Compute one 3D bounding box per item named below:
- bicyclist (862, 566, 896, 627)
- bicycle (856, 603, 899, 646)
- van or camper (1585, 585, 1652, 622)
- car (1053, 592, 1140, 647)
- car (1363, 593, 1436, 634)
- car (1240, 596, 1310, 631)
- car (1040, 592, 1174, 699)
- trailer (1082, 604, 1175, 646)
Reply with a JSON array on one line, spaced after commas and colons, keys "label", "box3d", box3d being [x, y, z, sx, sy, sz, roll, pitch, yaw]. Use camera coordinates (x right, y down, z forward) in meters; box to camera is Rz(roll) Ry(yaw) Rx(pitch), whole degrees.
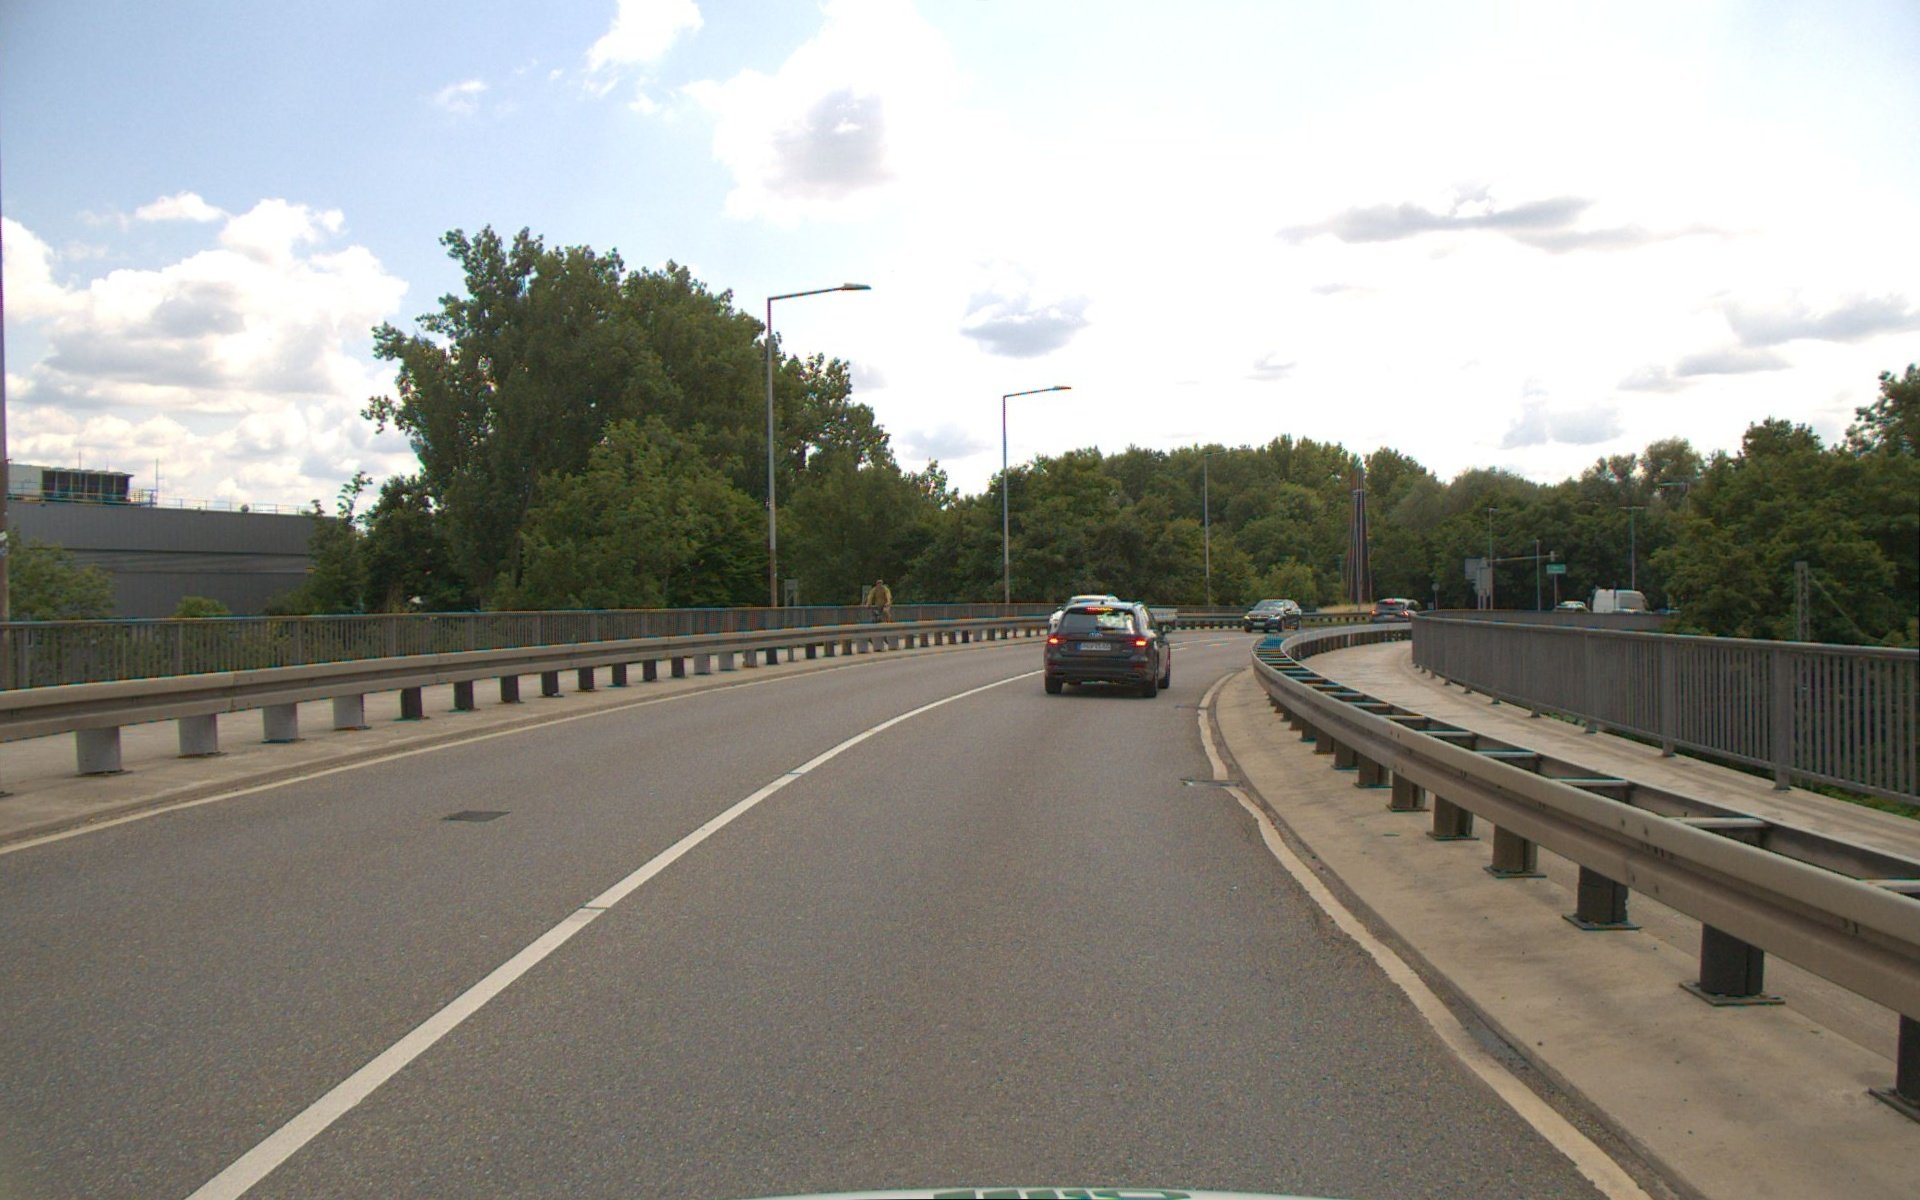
[{"label": "bicyclist", "box3d": [-2.194, -0.087, 44.936, 0.750, 1.630, 0.948, 0, 0, 9]}, {"label": "bicycle", "box3d": [-2.225, 0.645, 44.769, 0.752, 1.114, 2.117, 0, 0, 9]}, {"label": "van or camper", "box3d": [44.298, 0.240, 111.223, 5.200, 2.381, 2.244, 1, 1, -44]}, {"label": "car", "box3d": [4.226, 0.561, 50.578, 1.768, 1.562, 4.351, 1, 0, 16]}, {"label": "car", "box3d": [19.289, 0.576, 72.460, 1.791, 1.680, 3.840, 2, 1, 36]}, {"label": "car", "box3d": [14.305, 0.589, 74.972, 1.782, 1.476, 4.730, 1, 1, 28]}, {"label": "car", "box3d": [2.466, 0.666, 26.794, 1.789, 1.517, 4.210, 2, 1, 9]}, {"label": "trailer", "box3d": [5.736, 0.798, 55.532, 2.002, 1.230, 5.986, 1, 1, 17]}]
